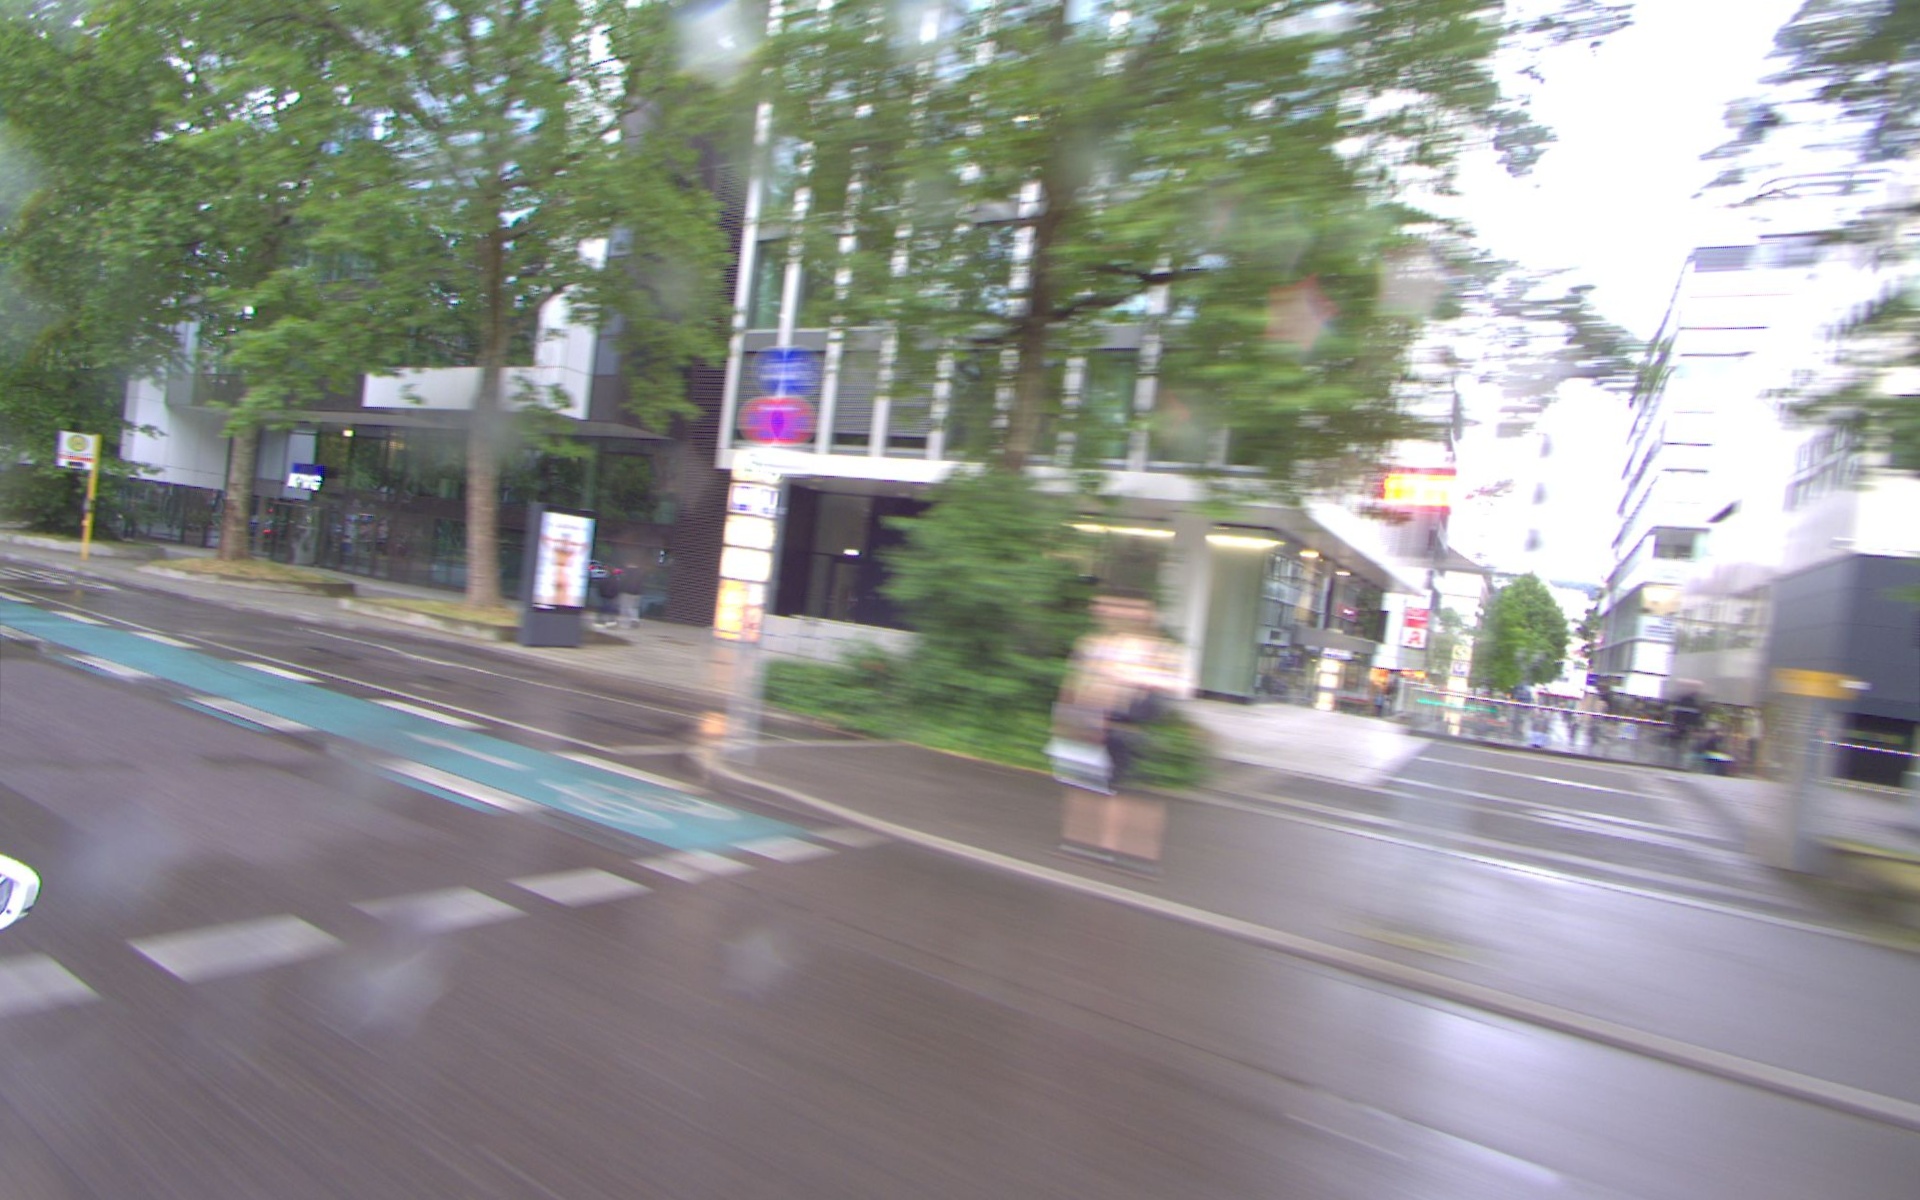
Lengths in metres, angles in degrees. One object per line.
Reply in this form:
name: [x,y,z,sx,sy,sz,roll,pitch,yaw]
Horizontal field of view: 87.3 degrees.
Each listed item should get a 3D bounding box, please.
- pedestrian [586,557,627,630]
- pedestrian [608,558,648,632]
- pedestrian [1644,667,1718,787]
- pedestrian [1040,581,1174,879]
pedestrian: [-9.168,-0.168,26.126,0.597,1.816,0.563,7,0,29]
pedestrian: [-8.893,-0.136,26.941,0.597,1.877,0.563,7,0,29]
pedestrian: [13.094,2.288,18.277,0.697,2.039,0.762,5,1,-39]
pedestrian: [0.999,0.842,6.779,0.554,1.853,0.607,7,0,23]
